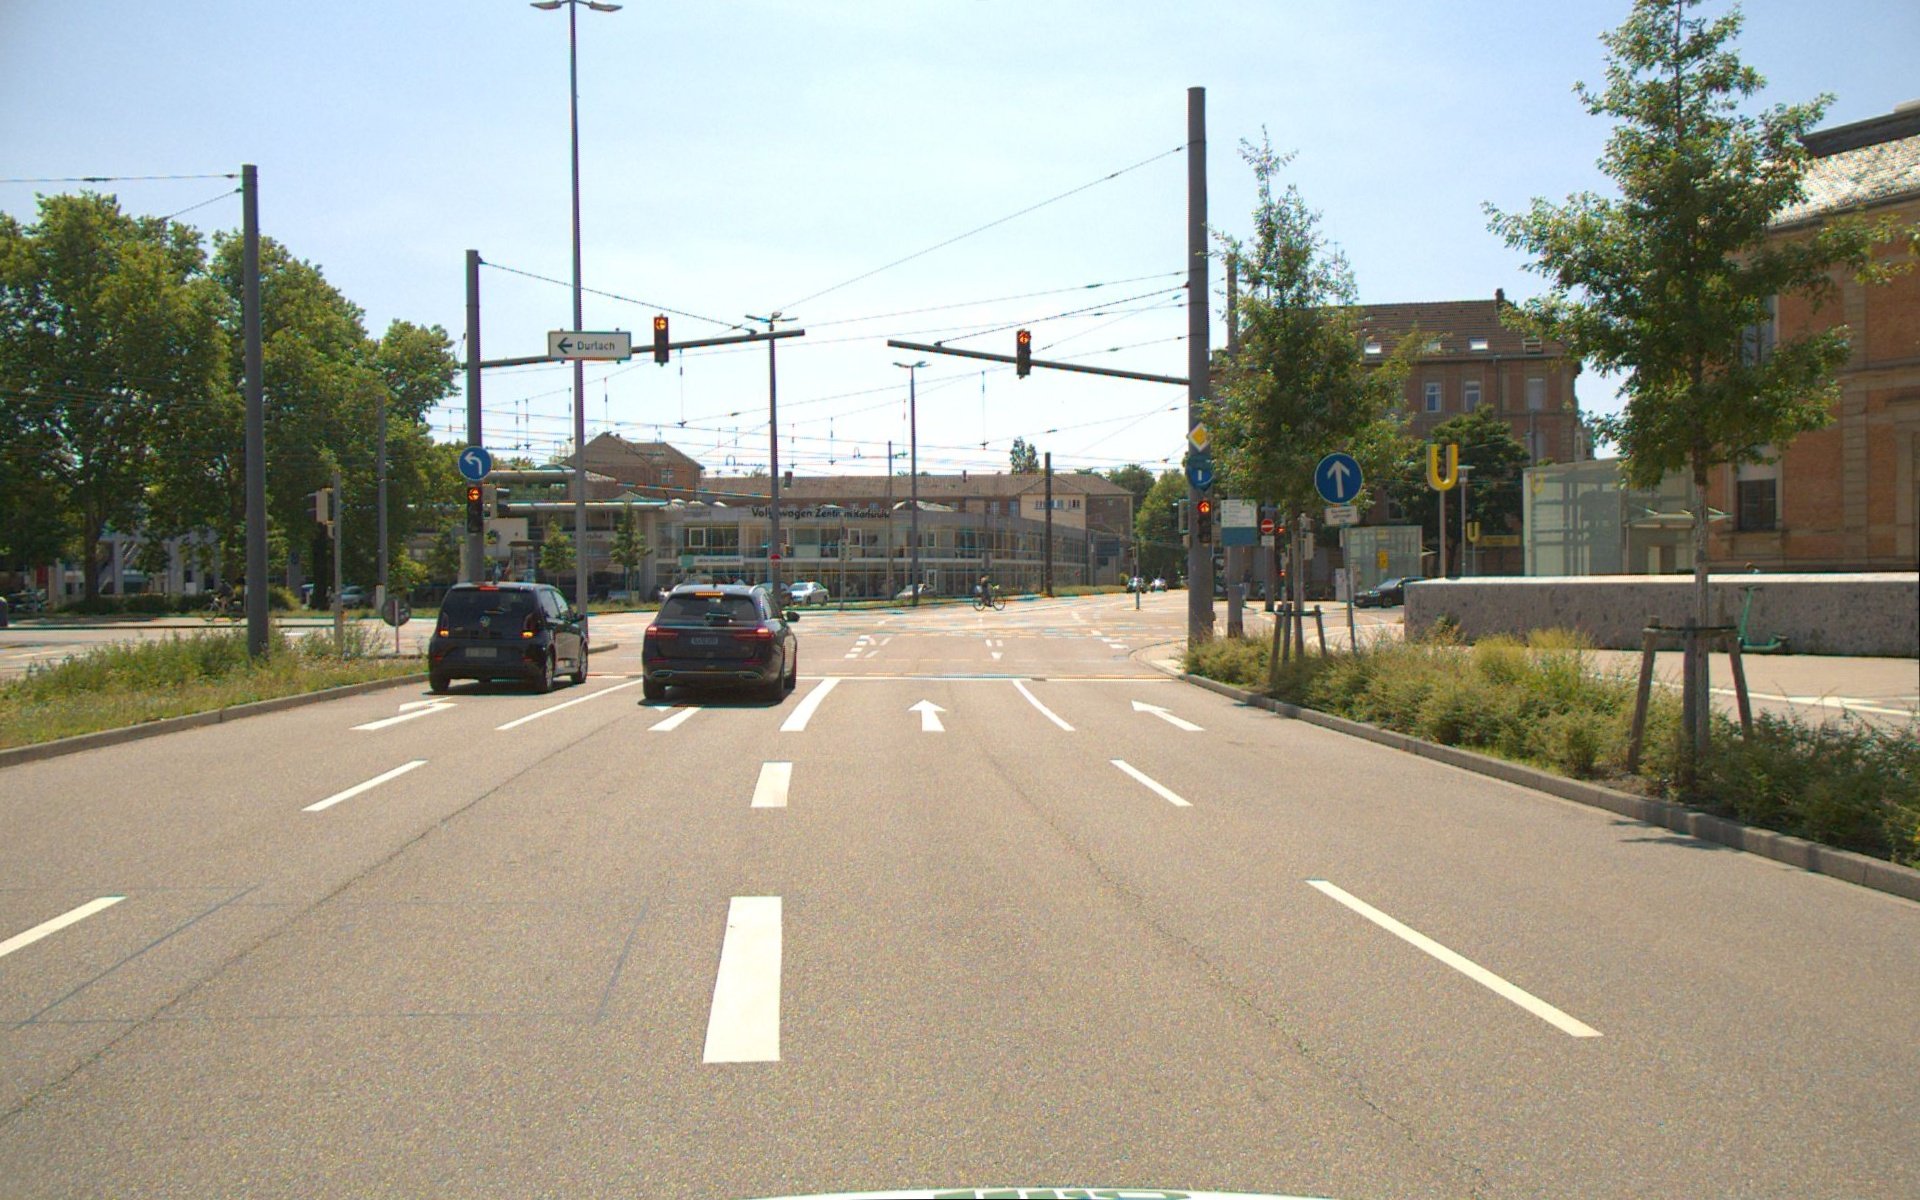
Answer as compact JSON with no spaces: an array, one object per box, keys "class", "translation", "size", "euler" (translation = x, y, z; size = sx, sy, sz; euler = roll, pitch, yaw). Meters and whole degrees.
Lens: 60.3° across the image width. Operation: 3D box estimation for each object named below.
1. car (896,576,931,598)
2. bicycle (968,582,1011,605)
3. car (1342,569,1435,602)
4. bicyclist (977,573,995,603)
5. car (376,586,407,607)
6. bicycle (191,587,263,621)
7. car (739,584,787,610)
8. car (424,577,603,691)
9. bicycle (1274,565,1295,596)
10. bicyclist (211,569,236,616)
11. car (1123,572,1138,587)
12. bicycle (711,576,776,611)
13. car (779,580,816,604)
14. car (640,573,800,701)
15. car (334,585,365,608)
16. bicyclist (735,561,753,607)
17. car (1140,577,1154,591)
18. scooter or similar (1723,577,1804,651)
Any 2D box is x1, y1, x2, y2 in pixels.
[{"class":"car","translation":[-3.332,-0.966,118.391],"size":[1.537,1.452,3.617],"euler":[1,3,15]},{"class":"bicycle","translation":[1.482,-0.311,83.582],"size":[2.129,1.126,0.454],"euler":[-1,2,-20]},{"class":"car","translation":[20.194,-0.700,78.003],"size":[4.043,1.476,1.687],"euler":[-1,3,-21]},{"class":"bicyclist","translation":[1.315,-0.594,83.515],"size":[0.721,1.505,0.652],"euler":[-1,2,-20]},{"class":"car","translation":[-41.970,-0.258,122.236],"size":[1.481,1.443,3.416],"euler":[0,3,-7]},{"class":"bicycle","translation":[-31.409,0.172,70.883],"size":[2.723,1.409,0.669],"euler":[0,2,-9]},{"class":"car","translation":[-11.025,-0.188,92.753],"size":[1.505,1.300,3.542],"euler":[1,3,15]},{"class":"car","translation":[-6.303,0.436,23.744],"size":[1.588,1.489,3.999],"euler":[0,0,-2]},{"class":"bicycle","translation":[20.239,-1.208,103.122],"size":[0.599,1.819,3.181],"euler":[0,2,-1]},{"class":"bicyclist","translation":[-31.550,-0.314,70.841],"size":[0.830,1.999,0.625],"euler":[0,2,-9]},{"class":"car","translation":[17.936,-2.136,173.954],"size":[1.498,1.484,3.555],"euler":[1,3,6]},{"class":"bicycle","translation":[-9.407,-0.275,71.866],"size":[2.770,1.488,0.633],"euler":[0,2,-4]},{"class":"car","translation":[-9.700,-0.472,98.860],"size":[1.401,1.307,3.265],"euler":[1,3,10]},{"class":"car","translation":[-3.202,0.440,22.827],"size":[1.682,1.584,4.585],"euler":[0,0,-2]},{"class":"car","translation":[-45.210,-0.261,122.435],"size":[1.398,1.534,3.433],"euler":[0,3,-7]},{"class":"bicyclist","translation":[-9.376,-0.714,71.857],"size":[0.748,1.971,0.660],"euler":[0,2,-4]},{"class":"car","translation":[22.338,-1.949,197.687],"size":[1.552,1.555,3.718],"euler":[0,2,4]},{"class":"scooter or similar","translation":[13.717,0.225,28.273],"size":[0.391,1.187,1.281],"euler":[-1,3,-24]}]
